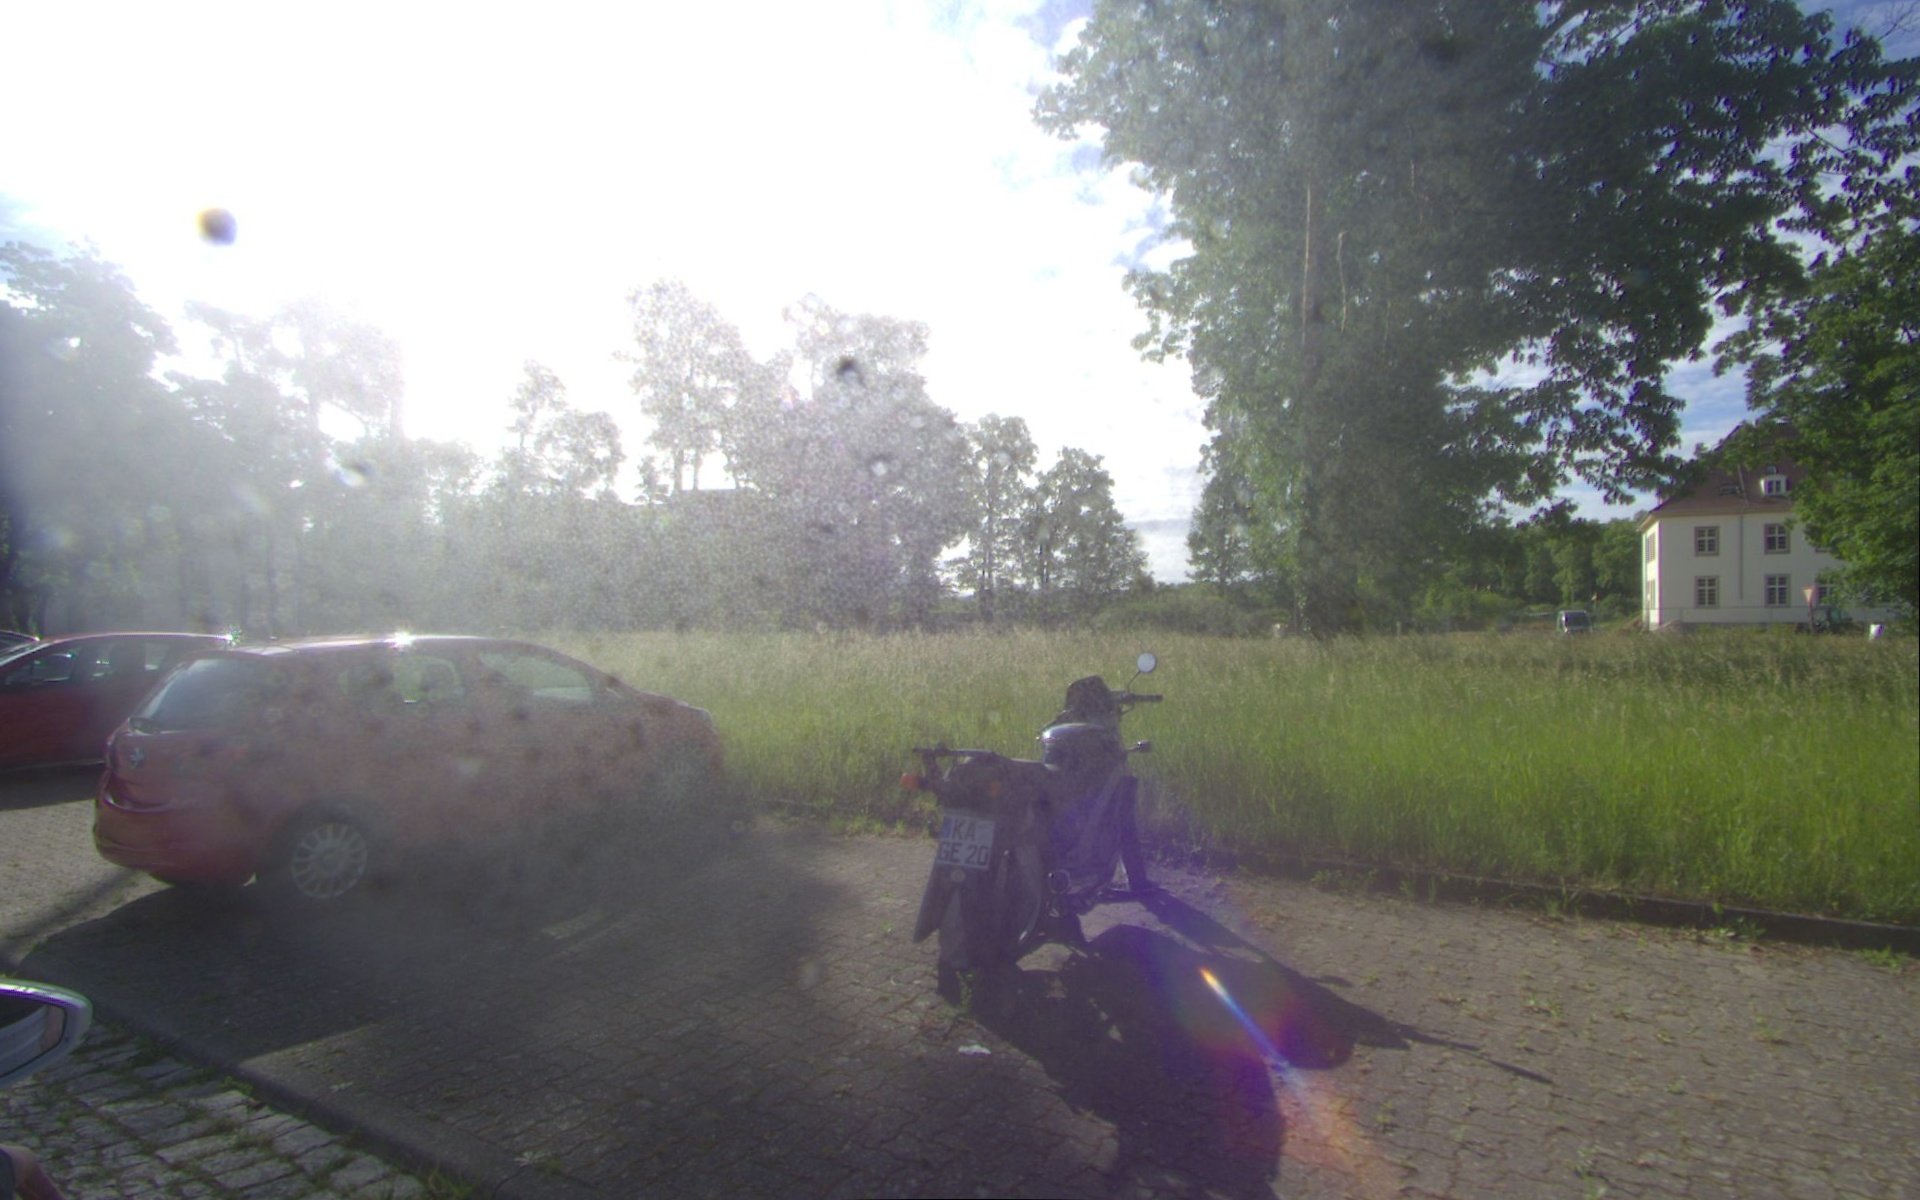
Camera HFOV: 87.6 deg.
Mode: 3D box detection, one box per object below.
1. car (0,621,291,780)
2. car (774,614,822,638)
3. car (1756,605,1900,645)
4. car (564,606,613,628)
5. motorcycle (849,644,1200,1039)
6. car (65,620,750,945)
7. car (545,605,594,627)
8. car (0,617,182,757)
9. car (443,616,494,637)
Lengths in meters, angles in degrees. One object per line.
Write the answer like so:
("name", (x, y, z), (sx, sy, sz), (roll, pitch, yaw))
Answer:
("car", (-9.686, 1.005, 10.848), (1.621, 1.550, 3.758), (0, -1, 30))
("car", (-14.047, 2.264, 87.052), (1.971, 2.040, 3.981), (0, -1, 31))
("car", (50.519, 1.493, 58.452), (2.346, 2.199, 5.974), (0, -2, -36))
("car", (-34.932, 1.570, 94.156), (1.971, 2.040, 3.981), (0, -1, 31))
("motorcycle", (0.451, 0.927, 4.800), (0.715, 1.337, 2.296), (0, 0, 31))
("car", (-3.365, 0.918, 6.864), (1.621, 1.498, 3.821), (0, 0, 31))
("car", (-37.113, 1.553, 95.200), (1.971, 2.040, 3.981), (0, -1, 31))
("car", (-12.087, 1.027, 12.063), (1.745, 1.643, 3.931), (0, -1, 30))
("car", (-47.402, 2.544, 96.661), (1.971, 2.040, 3.981), (0, -1, 31))
